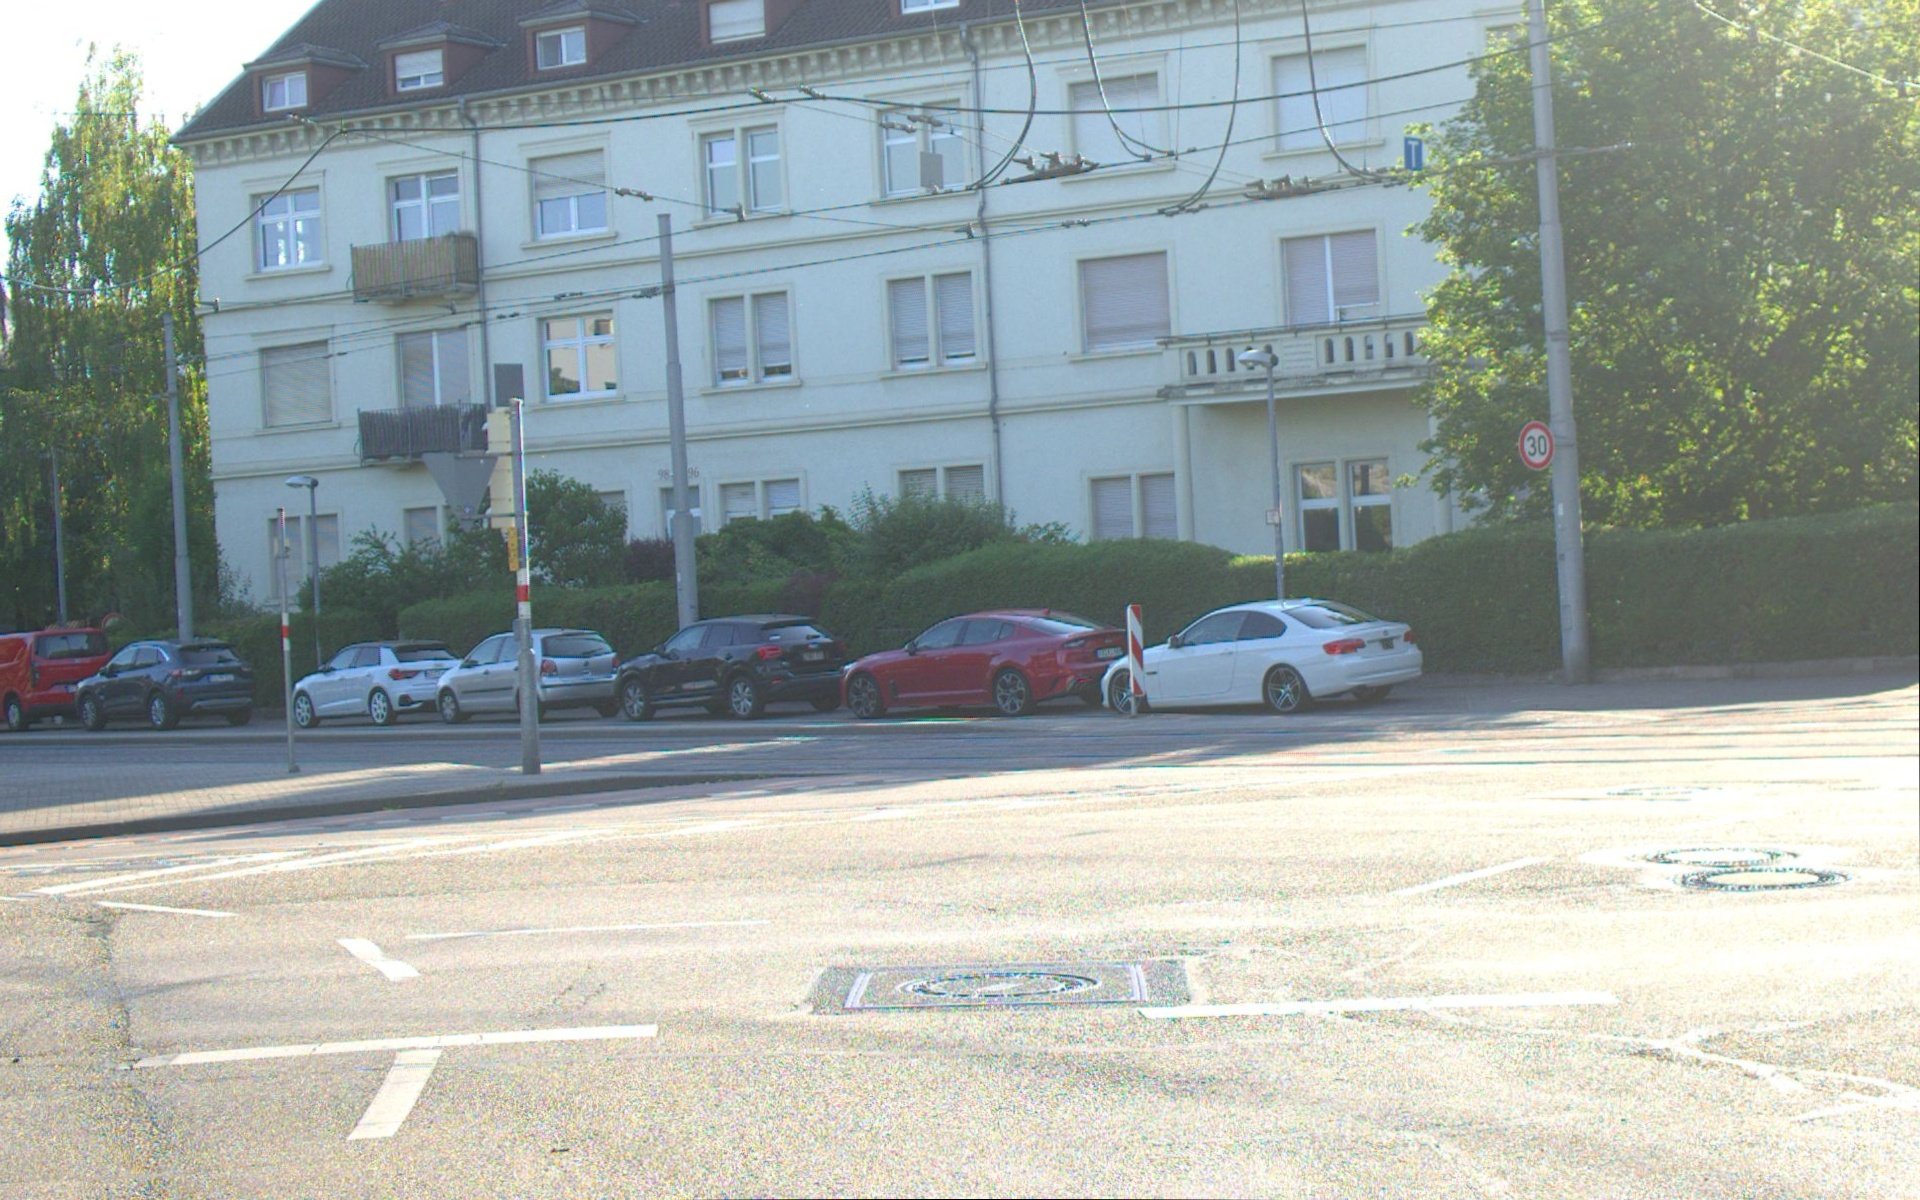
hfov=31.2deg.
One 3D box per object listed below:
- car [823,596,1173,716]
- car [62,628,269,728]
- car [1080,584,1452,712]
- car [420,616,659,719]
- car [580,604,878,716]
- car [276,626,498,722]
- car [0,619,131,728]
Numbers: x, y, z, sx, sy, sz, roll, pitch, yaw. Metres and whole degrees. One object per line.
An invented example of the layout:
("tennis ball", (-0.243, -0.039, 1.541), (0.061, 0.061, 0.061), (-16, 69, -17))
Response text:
("car", (0.480, 0.796, 47.729), (4.702, 1.371, 1.982), (-3, 2, 44))
("car", (-14.983, 1.476, 64.718), (1.840, 1.662, 4.368), (-6, 2, -41))
("car", (3.843, 0.625, 43.755), (1.925, 1.371, 4.494), (-6, 2, -43))
("car", (-6.812, 1.099, 55.439), (1.982, 1.442, 3.717), (-6, 2, -41))
("car", (-3.558, 0.931, 52.214), (1.982, 1.442, 4.703), (-6, 2, -41))
("car", (-9.846, 1.280, 58.914), (1.840, 1.442, 3.957), (-6, 2, -41))
("car", (-19.048, 1.513, 69.735), (2.051, 1.955, 5.148), (-6, 2, -41))
